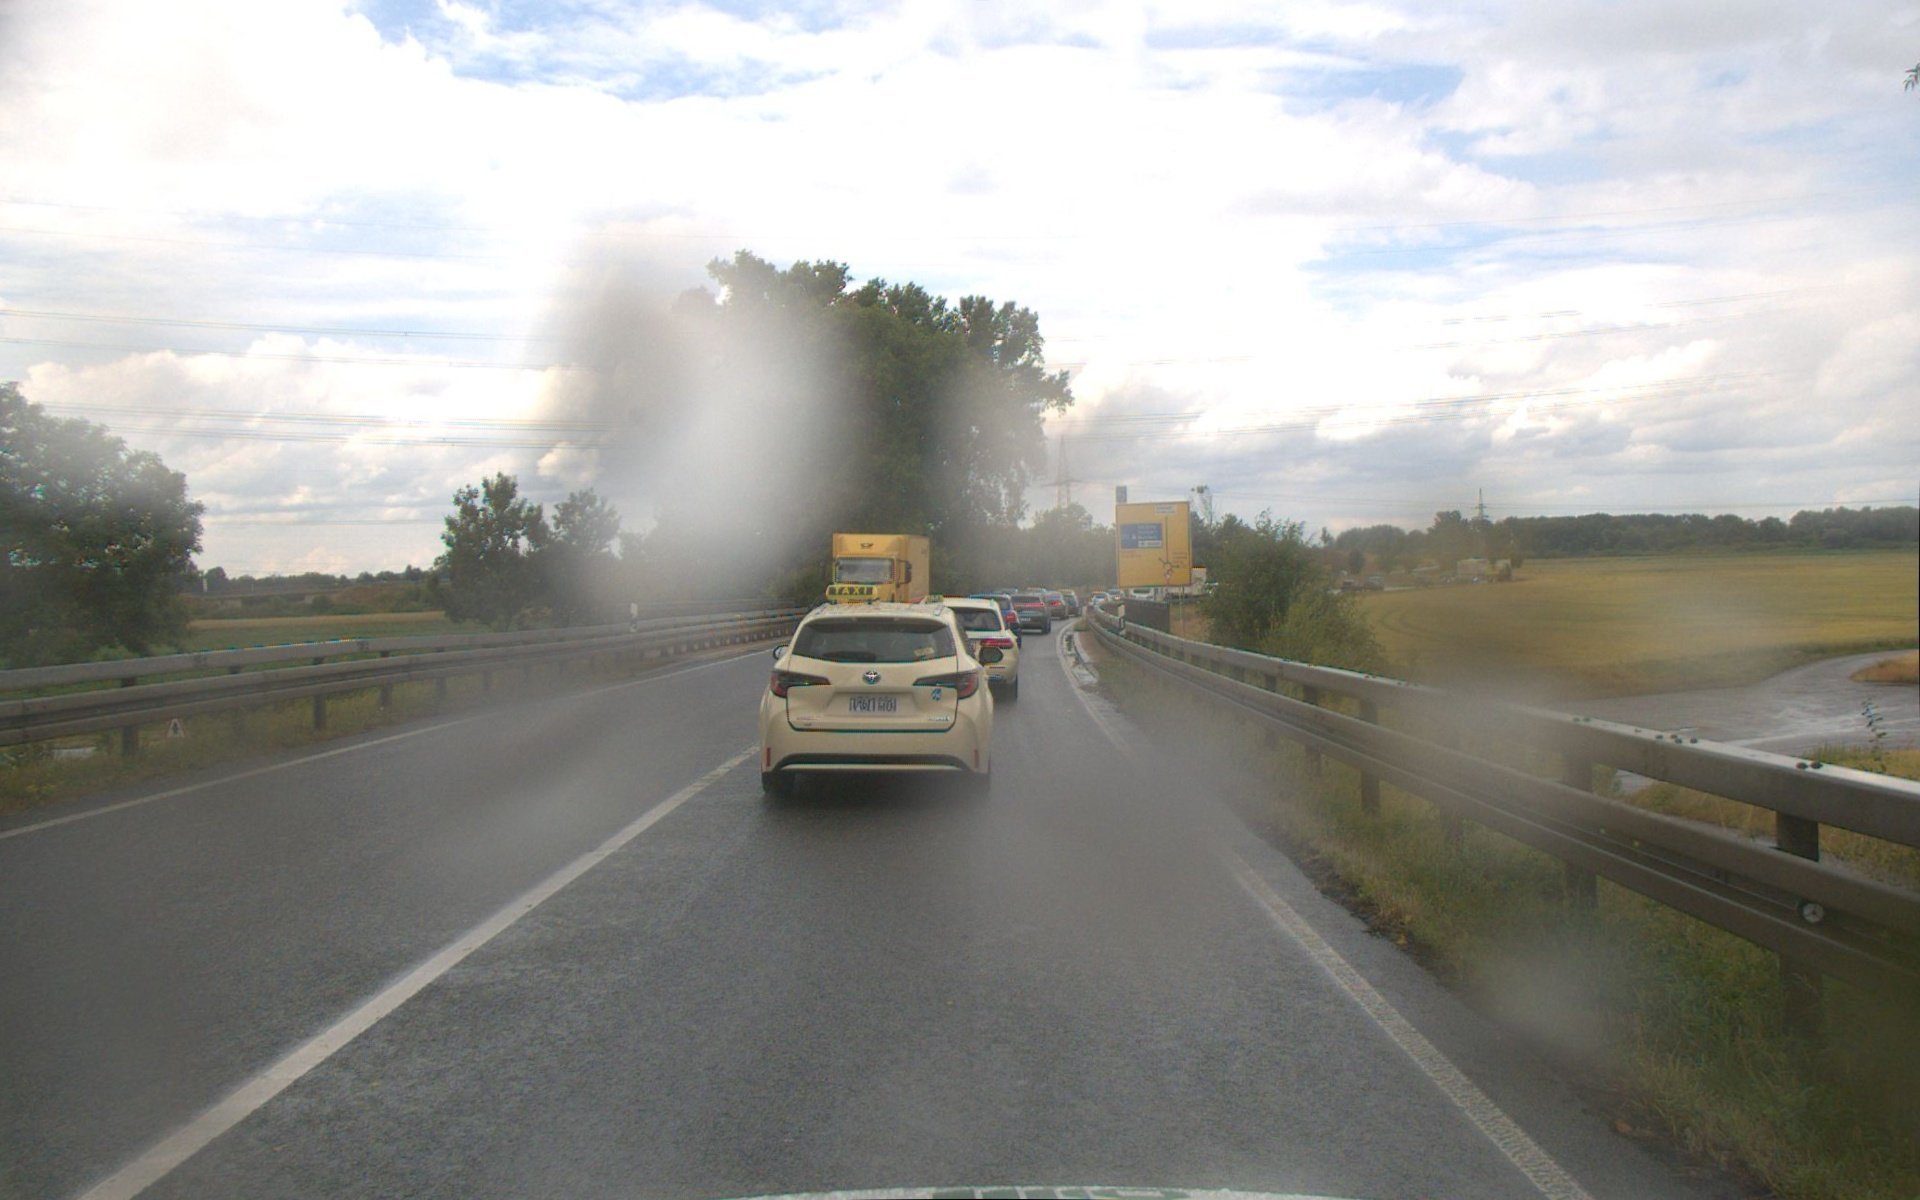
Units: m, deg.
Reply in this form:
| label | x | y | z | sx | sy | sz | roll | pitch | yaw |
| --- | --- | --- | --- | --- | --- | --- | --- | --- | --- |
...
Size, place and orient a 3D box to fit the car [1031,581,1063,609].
| label | x | y | z | sx | sy | sz | roll | pitch | yaw |
| --- | --- | --- | --- | --- | --- | --- | --- | --- | --- |
| car | 4.744 | -0.267 | 89.415 | 1.625 | 1.434 | 3.906 | 0 | -1 | 4 |

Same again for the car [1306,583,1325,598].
| label | x | y | z | sx | sy | sz | roll | pitch | yaw |
| --- | --- | --- | --- | --- | --- | --- | --- | --- | --- |
| car | 46.091 | -1.199 | 214.595 | 1.880 | 1.870 | 4.001 | 0 | 0 | 19 |

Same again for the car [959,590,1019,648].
| label | x | y | z | sx | sy | sz | roll | pitch | yaw |
| --- | --- | --- | --- | --- | --- | --- | --- | --- | --- |
| car | 0.806 | 0.490 | 44.347 | 1.474 | 1.462 | 3.357 | 1 | 0 | 3 |

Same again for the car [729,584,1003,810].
| label | x | y | z | sx | sy | sz | roll | pitch | yaw |
| --- | --- | --- | --- | --- | --- | --- | --- | --- | --- |
| car | -0.599 | 0.673 | 13.596 | 1.866 | 1.564 | 4.162 | 0 | 0 | 2 |

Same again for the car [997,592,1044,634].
| label | x | y | z | sx | sy | sz | roll | pitch | yaw |
| --- | --- | --- | --- | --- | --- | --- | --- | --- | --- |
| car | 2.263 | 0.464 | 61.087 | 1.630 | 1.489 | 3.478 | 0 | 0 | 3 |

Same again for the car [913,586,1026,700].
| label | x | y | z | sx | sy | sz | roll | pitch | yaw |
| --- | --- | --- | --- | --- | --- | --- | --- | --- | --- |
| car | 0.202 | 0.608 | 25.144 | 1.545 | 1.600 | 3.682 | 0 | 0 | 3 |

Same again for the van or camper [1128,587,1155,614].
| label | x | y | z | sx | sy | sz | roll | pitch | yaw |
| --- | --- | --- | --- | --- | --- | --- | --- | --- | --- |
| van or camper | 15.757 | 0.083 | 143.291 | 1.951 | 2.293 | 4.003 | 0 | 0 | 12 |

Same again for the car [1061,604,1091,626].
| label | x | y | z | sx | sy | sz | roll | pitch | yaw |
| --- | --- | --- | --- | --- | --- | --- | --- | --- | --- |
| car | 7.240 | 0.941 | 102.786 | 1.451 | 1.332 | 3.480 | 0 | 0 | 11 |

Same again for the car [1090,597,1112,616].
| label | x | y | z | sx | sy | sz | roll | pitch | yaw |
| --- | --- | --- | --- | --- | --- | --- | --- | --- | --- |
| car | 10.269 | 0.480 | 120.366 | 1.451 | 1.332 | 3.479 | 0 | 0 | 8 |

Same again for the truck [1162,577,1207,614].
| label | x | y | z | sx | sy | sz | roll | pitch | yaw |
| --- | --- | --- | --- | --- | --- | --- | --- | --- | --- |
| truck | 22.597 | -0.411 | 166.069 | 3.074 | 3.624 | 7.524 | 0 | 0 | 19 |

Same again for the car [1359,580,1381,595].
| label | x | y | z | sx | sy | sz | roll | pitch | yaw |
| --- | --- | --- | --- | --- | --- | --- | --- | --- | --- |
| car | 58.847 | -1.755 | 237.428 | 1.957 | 2.049 | 3.991 | 0 | -1 | 31 |

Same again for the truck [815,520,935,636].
| label | x | y | z | sx | sy | sz | roll | pitch | yaw |
| --- | --- | --- | --- | --- | --- | --- | --- | --- | --- |
| truck | -2.734 | -0.590 | 56.586 | 2.712 | 3.490 | 9.191 | 1 | -2 | 5 |

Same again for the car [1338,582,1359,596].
| label | x | y | z | sx | sy | sz | roll | pitch | yaw |
| --- | --- | --- | --- | --- | --- | --- | --- | --- | --- |
| car | 54.255 | -1.537 | 230.811 | 1.784 | 1.870 | 3.982 | 0 | -1 | 29 |
